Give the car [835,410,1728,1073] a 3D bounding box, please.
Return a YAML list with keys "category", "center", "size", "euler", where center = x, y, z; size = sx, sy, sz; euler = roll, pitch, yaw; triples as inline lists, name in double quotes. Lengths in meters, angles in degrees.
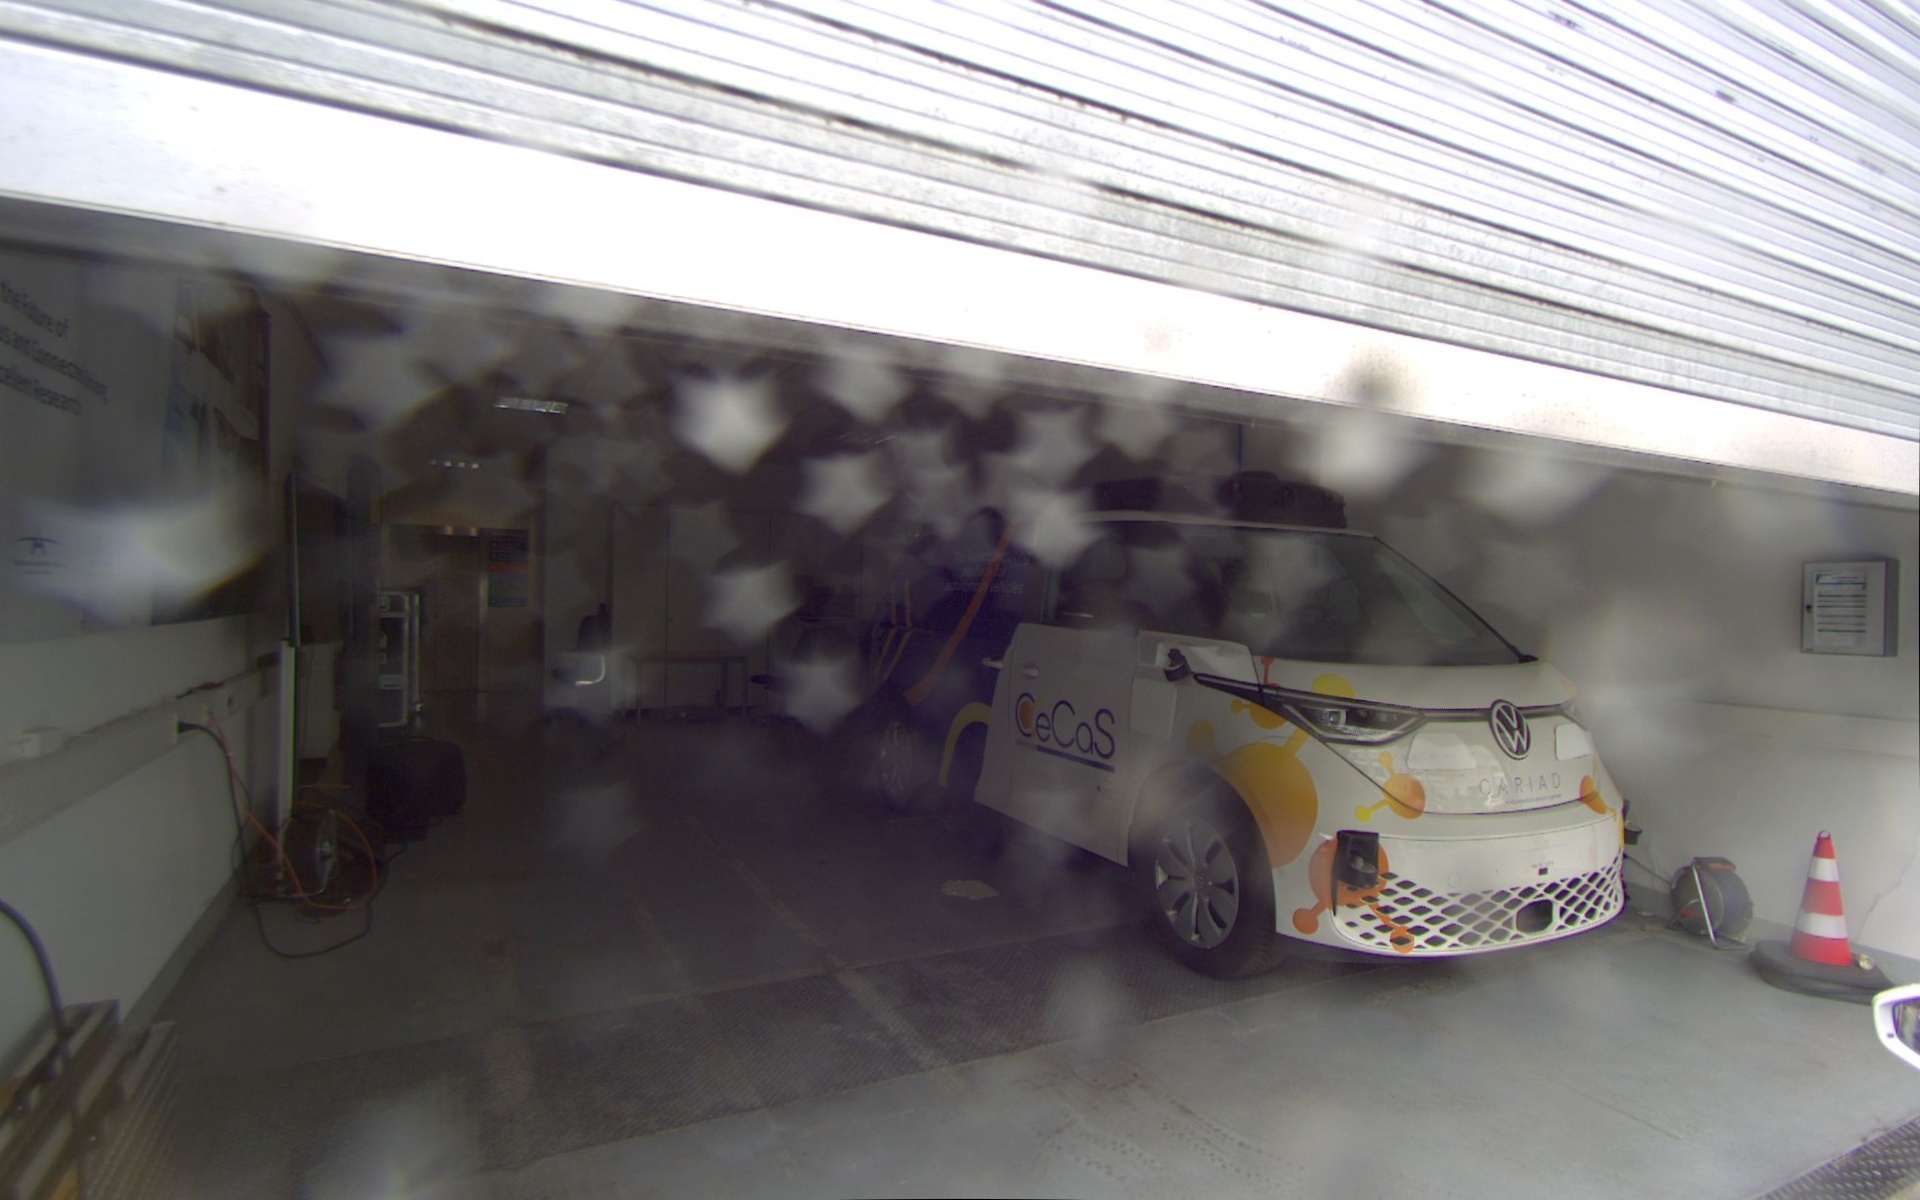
- category: "car"
  center: [1.088, 0.391, 5.647]
  size: [2.058, 2.041, 4.671]
  euler: [1, 1, -27]
